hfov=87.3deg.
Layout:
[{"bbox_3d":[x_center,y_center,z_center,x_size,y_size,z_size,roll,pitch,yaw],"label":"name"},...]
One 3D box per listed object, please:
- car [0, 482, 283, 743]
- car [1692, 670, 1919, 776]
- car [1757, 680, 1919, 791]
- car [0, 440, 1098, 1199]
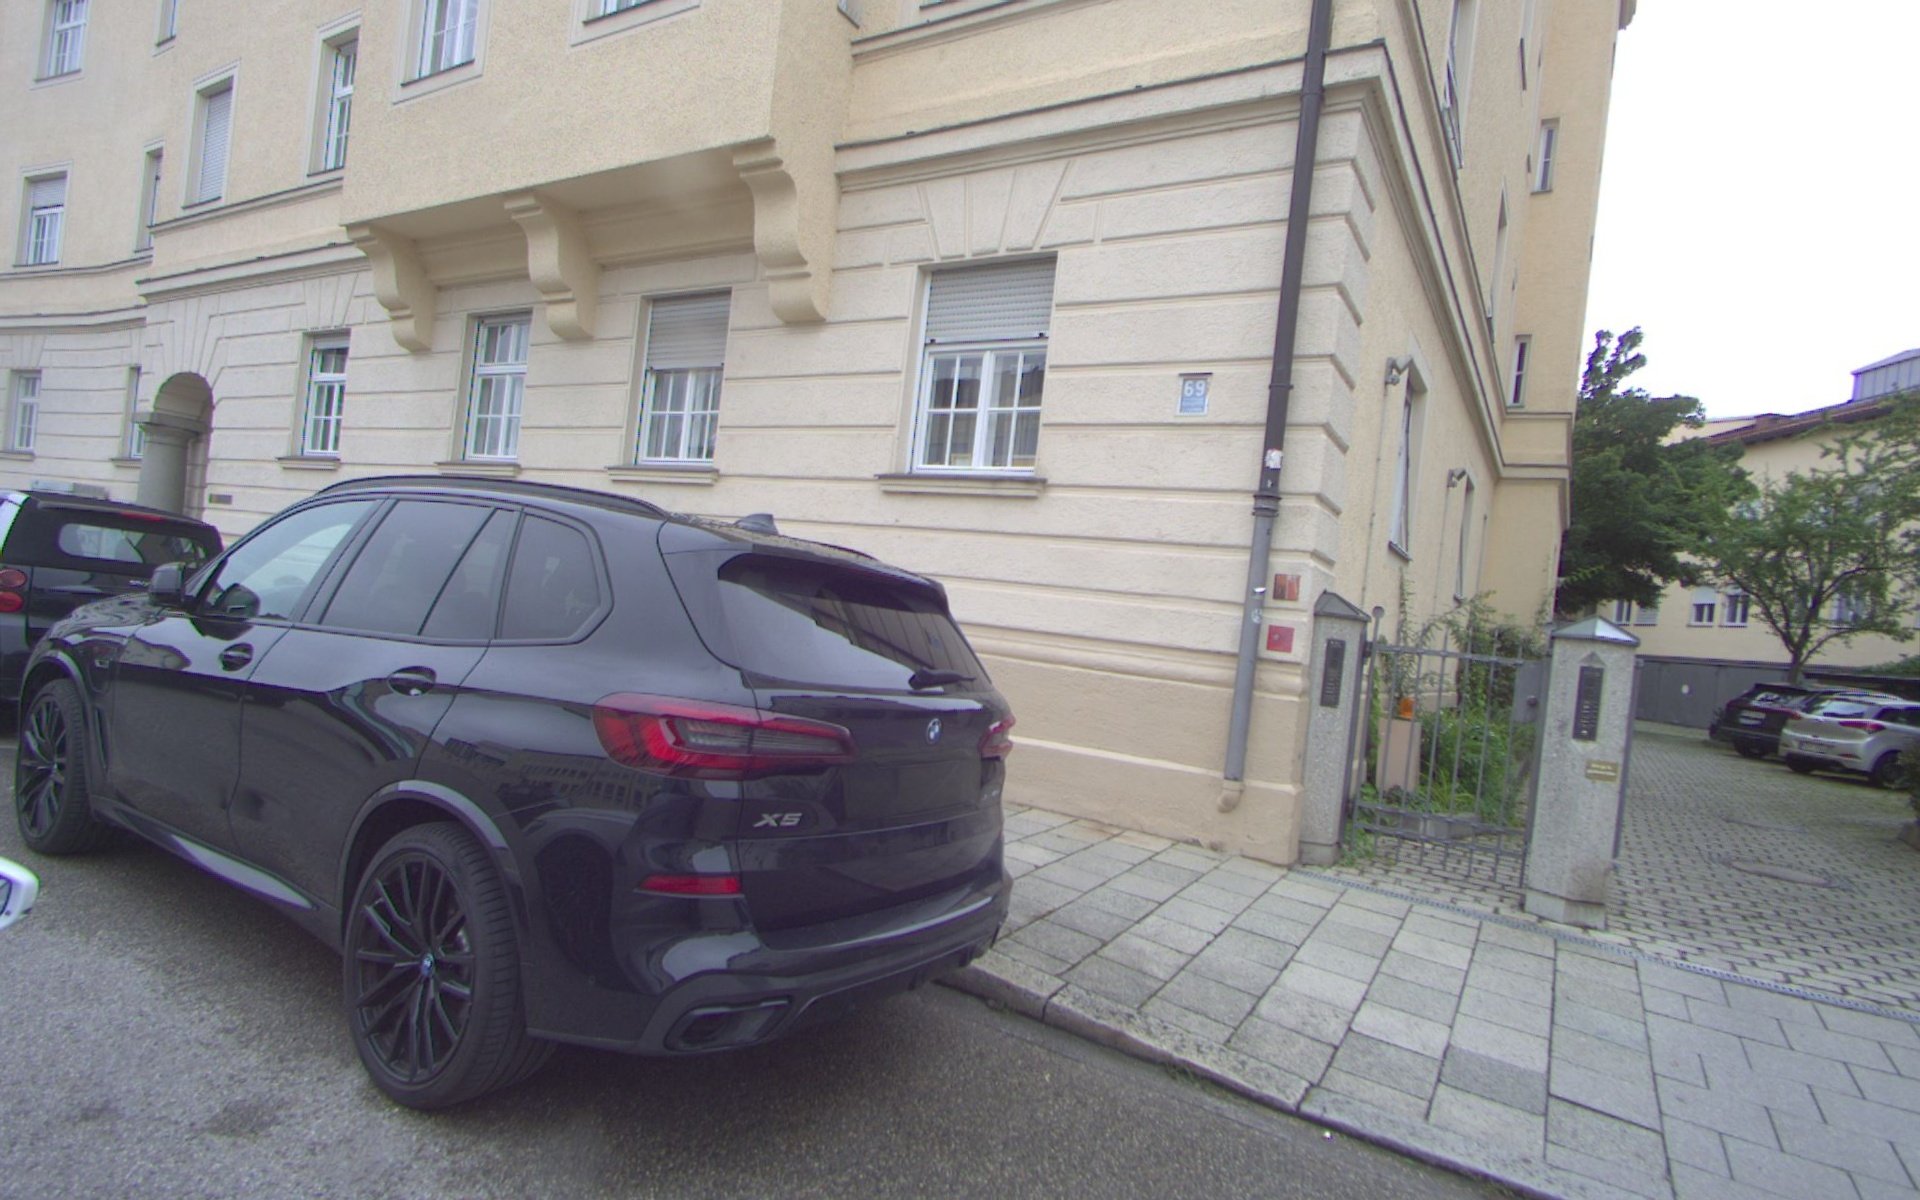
[{"bbox_3d":[-6.596,0.014,7.365,3.060,1.541,1.537,6,-2,33],"label":"car"},{"bbox_3d":[17.325,2.464,19.999,4.168,1.568,1.932,6,1,-7],"label":"car"},{"bbox_3d":[16.404,2.416,17.254,4.168,1.534,1.780,6,1,-7],"label":"car"},{"bbox_3d":[-2.084,0.425,4.205,4.785,1.737,1.872,6,-2,32],"label":"car"}]
